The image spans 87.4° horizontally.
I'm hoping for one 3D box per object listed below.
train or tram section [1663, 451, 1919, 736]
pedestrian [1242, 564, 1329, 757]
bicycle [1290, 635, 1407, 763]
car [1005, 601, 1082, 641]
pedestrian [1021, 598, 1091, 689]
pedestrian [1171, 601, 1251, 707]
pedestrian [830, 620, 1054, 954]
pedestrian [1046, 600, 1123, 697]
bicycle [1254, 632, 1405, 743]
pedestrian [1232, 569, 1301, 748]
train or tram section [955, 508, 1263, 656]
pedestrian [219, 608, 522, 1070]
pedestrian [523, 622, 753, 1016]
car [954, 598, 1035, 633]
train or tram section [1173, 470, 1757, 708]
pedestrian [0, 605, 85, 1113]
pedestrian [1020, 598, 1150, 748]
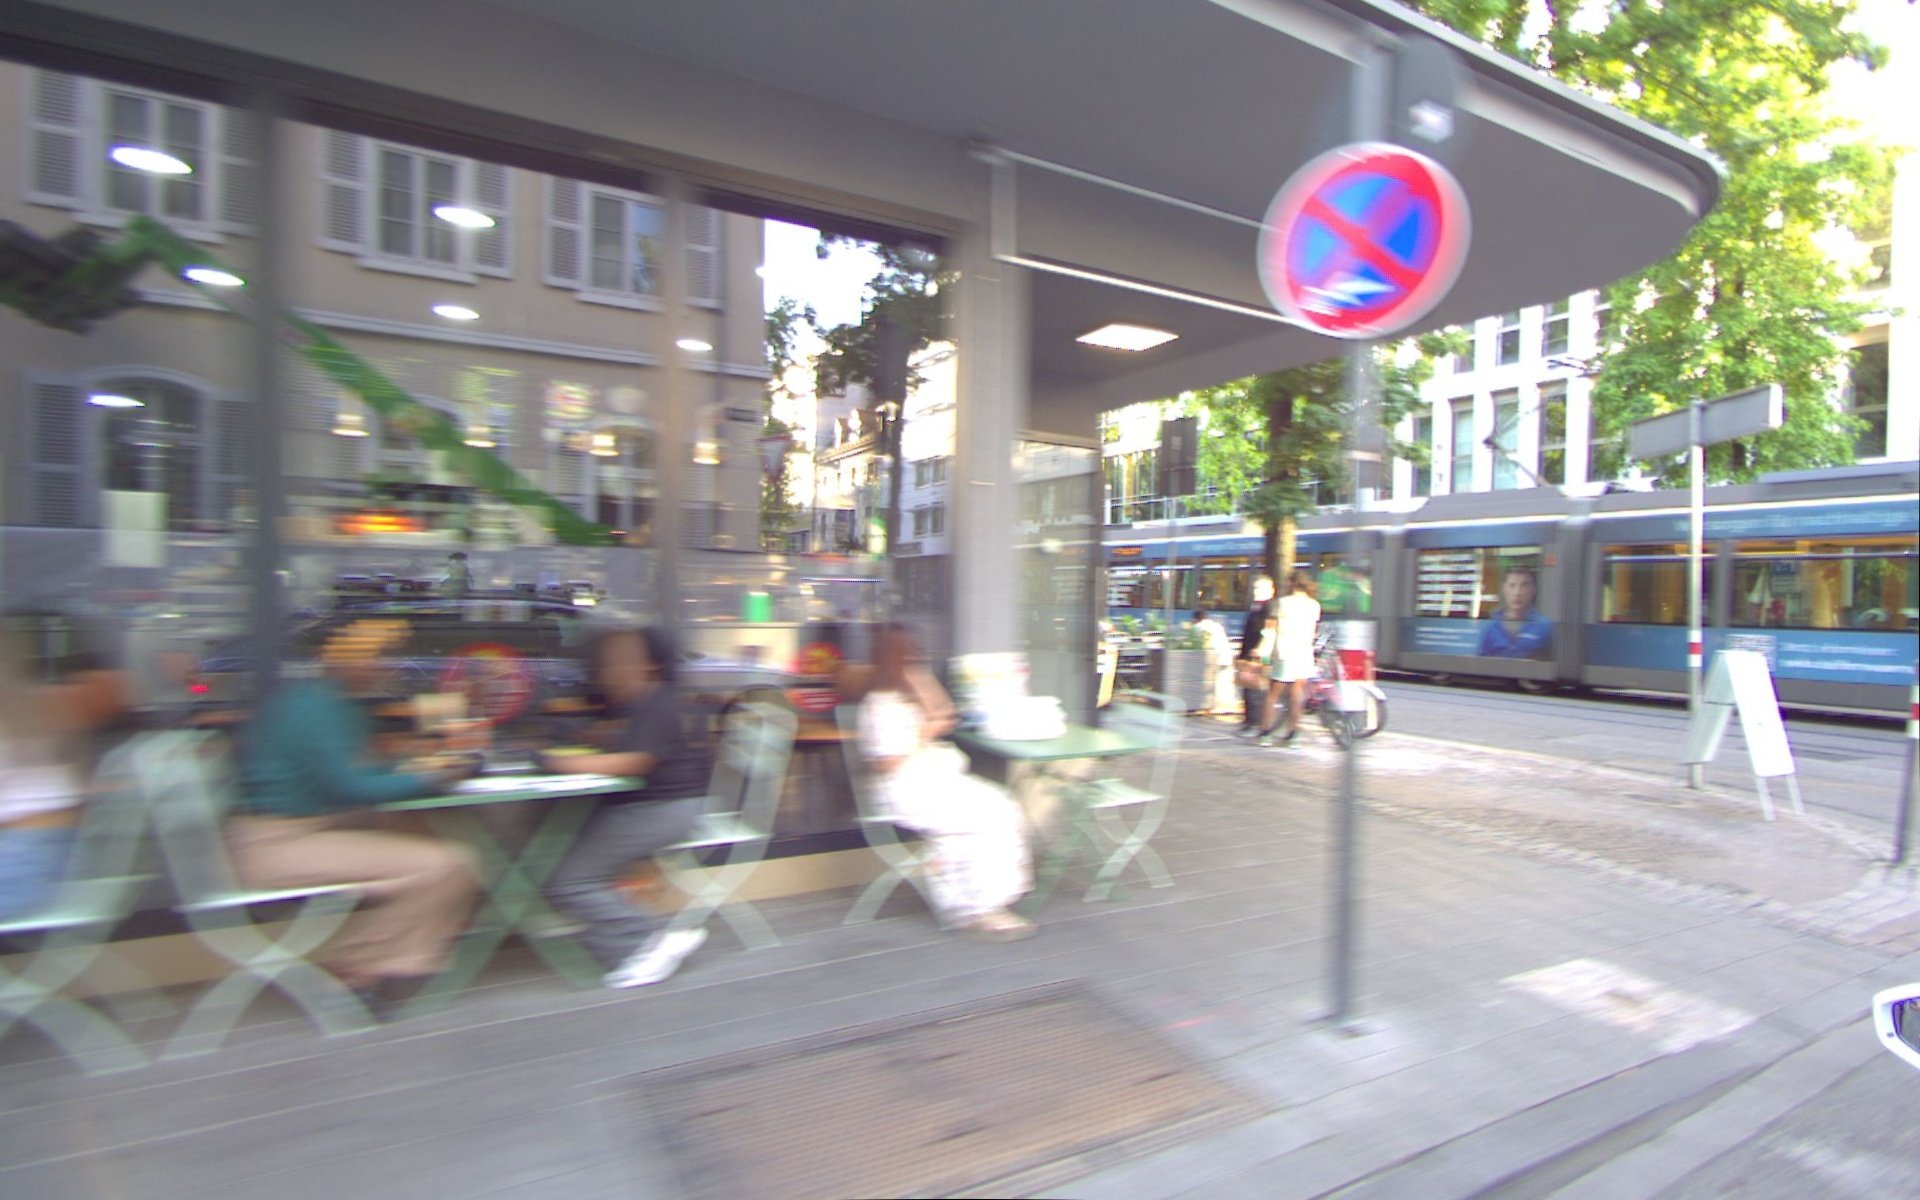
[{"bbox_3d":[14.414,-0.029,11.355,2.982,3.570,10.320,2,-1,-29],"label":"train or tram section"},{"bbox_3d":[3.139,0.559,9.667,0.630,1.764,0.780,1,-1,29],"label":"pedestrian"},{"bbox_3d":[4.005,0.951,10.271,0.767,1.154,1.862,1,-1,32],"label":"bicycle"},{"bbox_3d":[3.746,0.892,44.389,1.843,1.584,4.337,-1,1,27],"label":"car"},{"bbox_3d":[1.505,0.666,15.811,0.709,1.380,0.865,2,-1,-28],"label":"pedestrian"},{"bbox_3d":[3.412,0.722,13.697,0.686,1.395,0.787,2,-1,-28],"label":"pedestrian"},{"bbox_3d":[-0.045,0.723,4.233,0.825,1.235,0.706,1,1,7],"label":"pedestrian"},{"bbox_3d":[1.843,0.709,14.919,0.709,1.380,0.918,2,-1,-28],"label":"pedestrian"},{"bbox_3d":[4.218,0.964,11.412,1.847,1.154,0.621,2,-1,-33],"label":"bicycle"},{"bbox_3d":[3.169,0.588,10.390,0.629,1.764,0.782,1,-1,18],"label":"pedestrian"},{"bbox_3d":[3.833,-0.412,29.630,3.019,3.570,10.444,3,-1,-30],"label":"train or tram section"},{"bbox_3d":[-1.879,0.685,3.291,0.768,1.256,0.701,1,4,-27],"label":"pedestrian"},{"bbox_3d":[-1.195,0.713,3.664,0.682,1.212,0.701,1,3,-27],"label":"pedestrian"},{"bbox_3d":[1.711,0.731,48.466,1.834,1.477,4.168,0,2,37],"label":"car"},{"bbox_3d":[9.176,-0.146,20.482,2.978,3.570,10.755,1,-1,-30],"label":"train or tram section"},{"bbox_3d":[-2.913,0.673,2.592,0.695,1.303,0.858,2,1,36],"label":"pedestrian"},{"bbox_3d":[1.178,0.671,9.565,0.876,1.337,0.876,2,-1,-27],"label":"pedestrian"}]
